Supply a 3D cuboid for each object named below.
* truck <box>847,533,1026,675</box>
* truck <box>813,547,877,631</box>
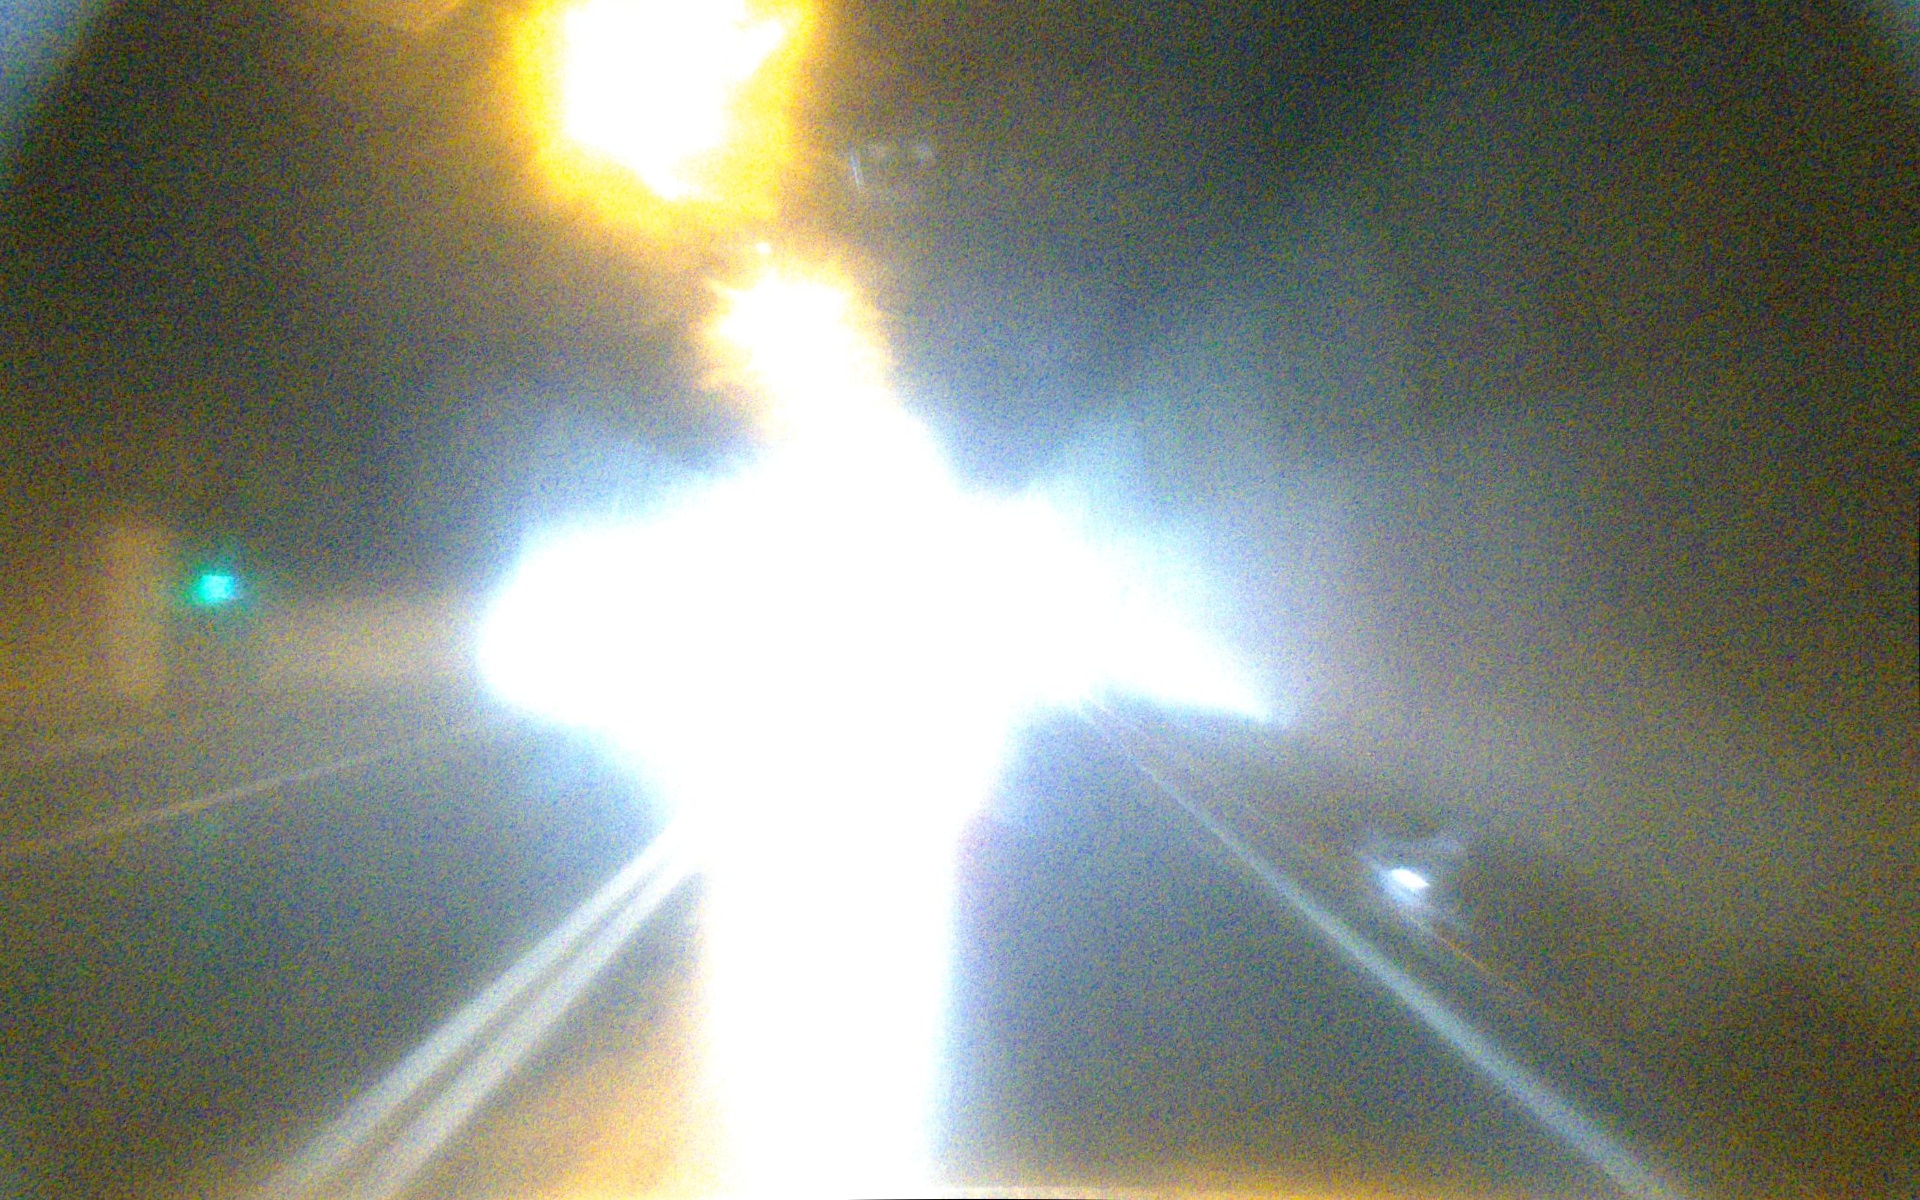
[{"bbox_3d":[-0.493,0.092,36.406,3.463,2.740,8.954,0,0,-1],"label":"truck"},{"bbox_3d":[-4.425,-0.408,64.666,2.234,3.069,6.591,1,0,-2],"label":"truck"}]
